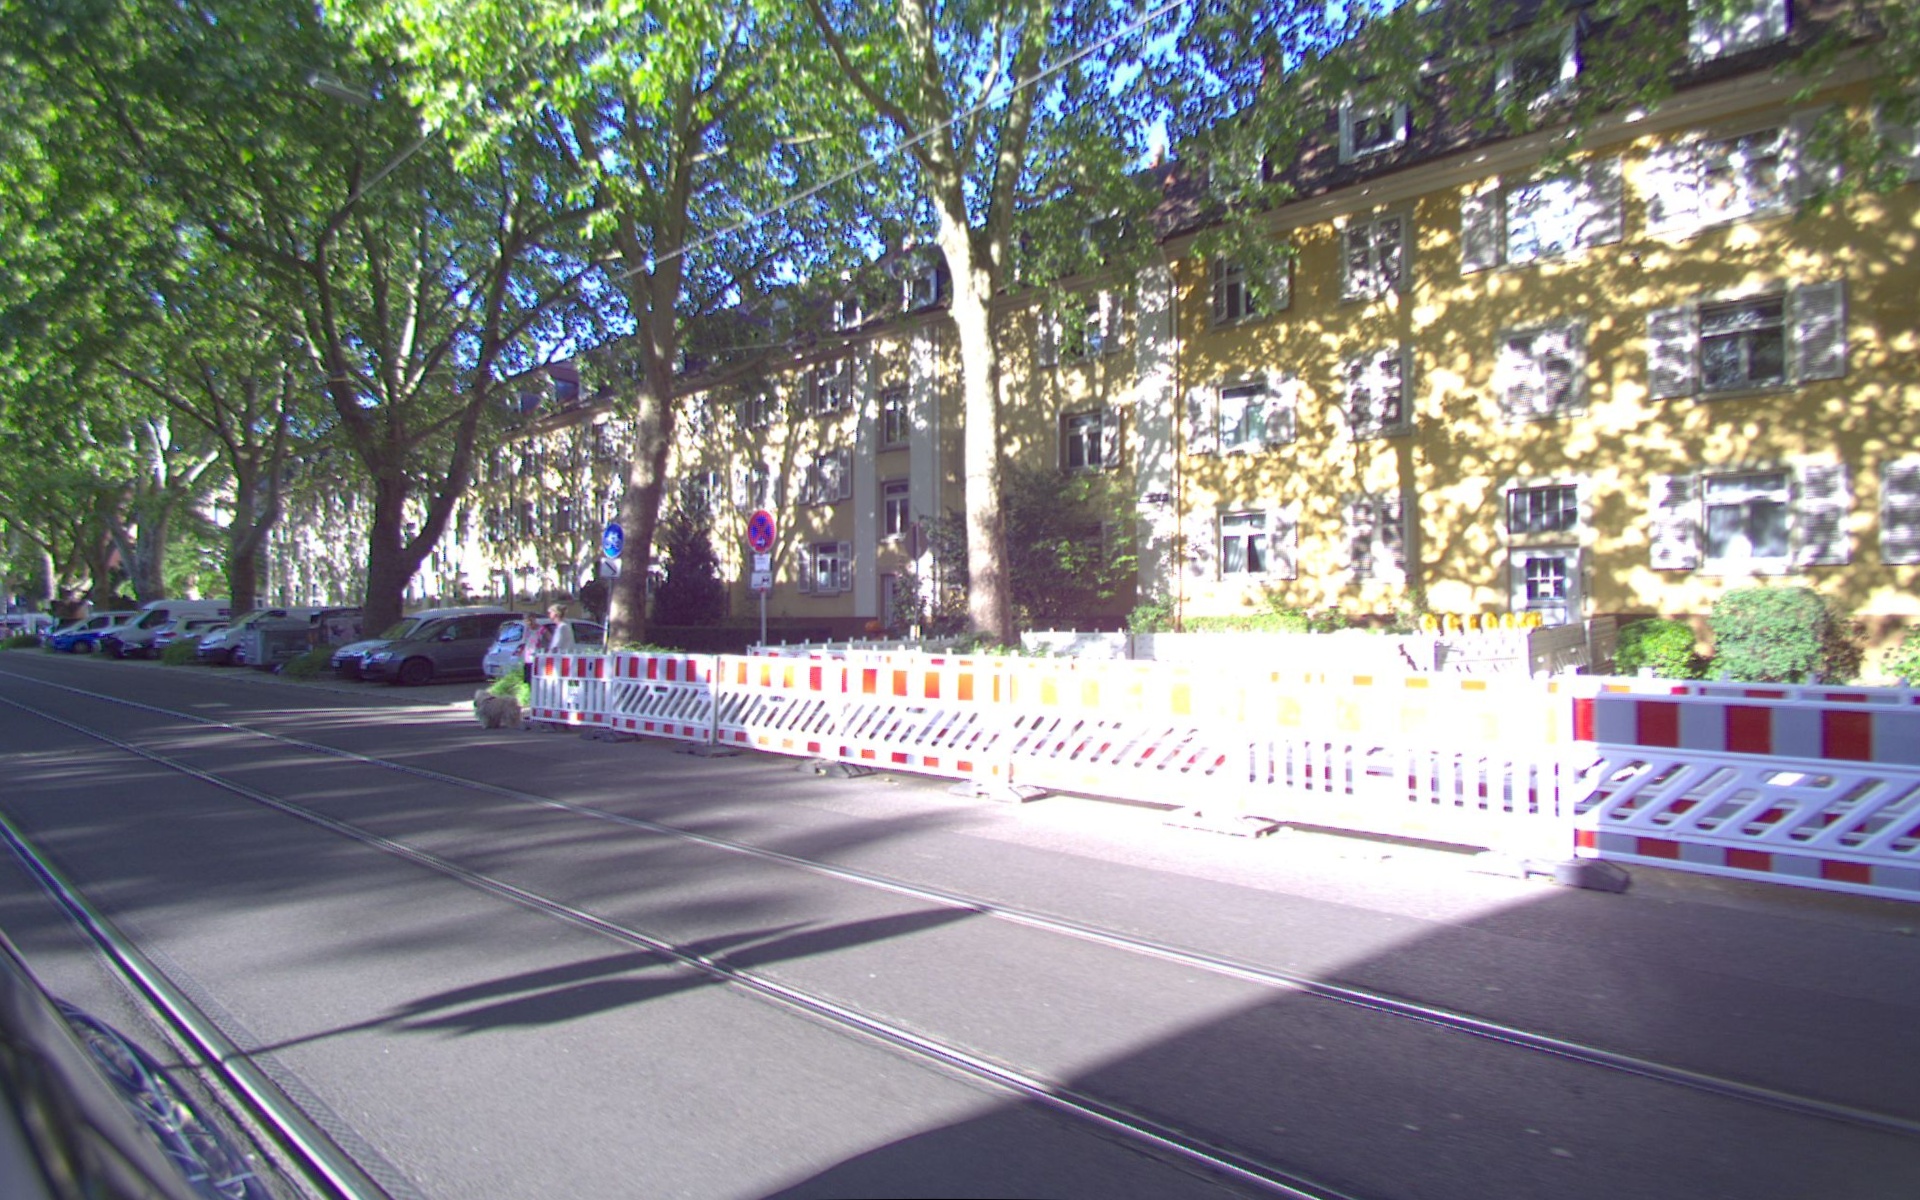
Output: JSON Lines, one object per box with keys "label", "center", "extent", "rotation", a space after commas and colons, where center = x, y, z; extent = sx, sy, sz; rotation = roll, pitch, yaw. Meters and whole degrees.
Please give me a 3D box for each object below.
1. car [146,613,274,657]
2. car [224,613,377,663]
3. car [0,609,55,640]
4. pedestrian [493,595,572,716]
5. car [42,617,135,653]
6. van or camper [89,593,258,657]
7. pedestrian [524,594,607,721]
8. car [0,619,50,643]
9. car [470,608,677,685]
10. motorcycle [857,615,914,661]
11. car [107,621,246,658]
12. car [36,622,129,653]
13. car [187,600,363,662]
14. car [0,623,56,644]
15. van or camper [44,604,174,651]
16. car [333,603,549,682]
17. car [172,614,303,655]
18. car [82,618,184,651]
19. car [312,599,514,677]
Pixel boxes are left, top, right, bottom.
{"label": "car", "center": [-29.727, 1.368, 40.180], "extent": [1.861, 1.675, 3.807], "rotation": [-2, -2, 41]}
{"label": "car", "center": [-21.272, 1.203, 32.747], "extent": [1.861, 1.509, 3.807], "rotation": [-2, -2, 41]}
{"label": "car", "center": [-76.980, 2.033, 82.184], "extent": [2.026, 2.416, 4.956], "rotation": [-2, -1, 39]}
{"label": "pedestrian", "center": [-6.454, 0.812, 15.278], "extent": [0.796, 1.758, 0.813], "rotation": [-1, 0, 41]}
{"label": "car", "center": [-47.919, 1.897, 55.678], "extent": [1.703, 1.828, 3.644], "rotation": [-1, -1, 40]}
{"label": "van or camper", "center": [-33.493, 0.999, 43.215], "extent": [2.443, 2.535, 5.334], "rotation": [-1, -1, 40]}
{"label": "pedestrian", "center": [-5.708, 0.802, 14.645], "extent": [0.796, 1.758, 0.813], "rotation": [-1, 0, 41]}
{"label": "car", "center": [-73.689, 2.454, 78.466], "extent": [2.026, 1.779, 4.408], "rotation": [-2, -1, 39]}
{"label": "car", "center": [-8.329, 0.963, 22.020], "extent": [1.861, 1.509, 3.807], "rotation": [-2, -2, 41]}
{"label": "motorcycle", "center": [-2.088, 1.059, 28.386], "extent": [0.523, 1.250, 1.691], "rotation": [-2, -1, 42]}
{"label": "car", "center": [-31.806, 1.560, 41.149], "extent": [1.752, 1.409, 4.219], "rotation": [-2, -2, 41]}
{"label": "car", "center": [-49.632, 2.086, 57.283], "extent": [1.796, 1.636, 3.649], "rotation": [-1, -1, 36]}
{"label": "car", "center": [-23.309, 1.008, 34.578], "extent": [1.959, 1.960, 4.613], "rotation": [-1, -1, 38]}
{"label": "car", "center": [-71.932, 2.585, 77.266], "extent": [1.923, 1.527, 4.119], "rotation": [-2, -1, 39]}
{"label": "van or camper", "center": [-43.107, 1.351, 51.369], "extent": [2.118, 2.206, 4.771], "rotation": [-1, -1, 40]}
{"label": "car", "center": [-12.173, 0.949, 23.891], "extent": [4.183, 1.701, 1.935], "rotation": [1, -2, -42]}
{"label": "car", "center": [-27.864, 1.315, 39.086], "extent": [1.861, 1.509, 3.807], "rotation": [-2, -2, 41]}
{"label": "car", "center": [-40.104, 1.672, 49.137], "extent": [1.692, 1.471, 3.500], "rotation": [-1, -1, 34]}
{"label": "car", "center": [-13.733, 0.888, 25.599], "extent": [1.738, 1.771, 4.158], "rotation": [-1, -1, 39]}
